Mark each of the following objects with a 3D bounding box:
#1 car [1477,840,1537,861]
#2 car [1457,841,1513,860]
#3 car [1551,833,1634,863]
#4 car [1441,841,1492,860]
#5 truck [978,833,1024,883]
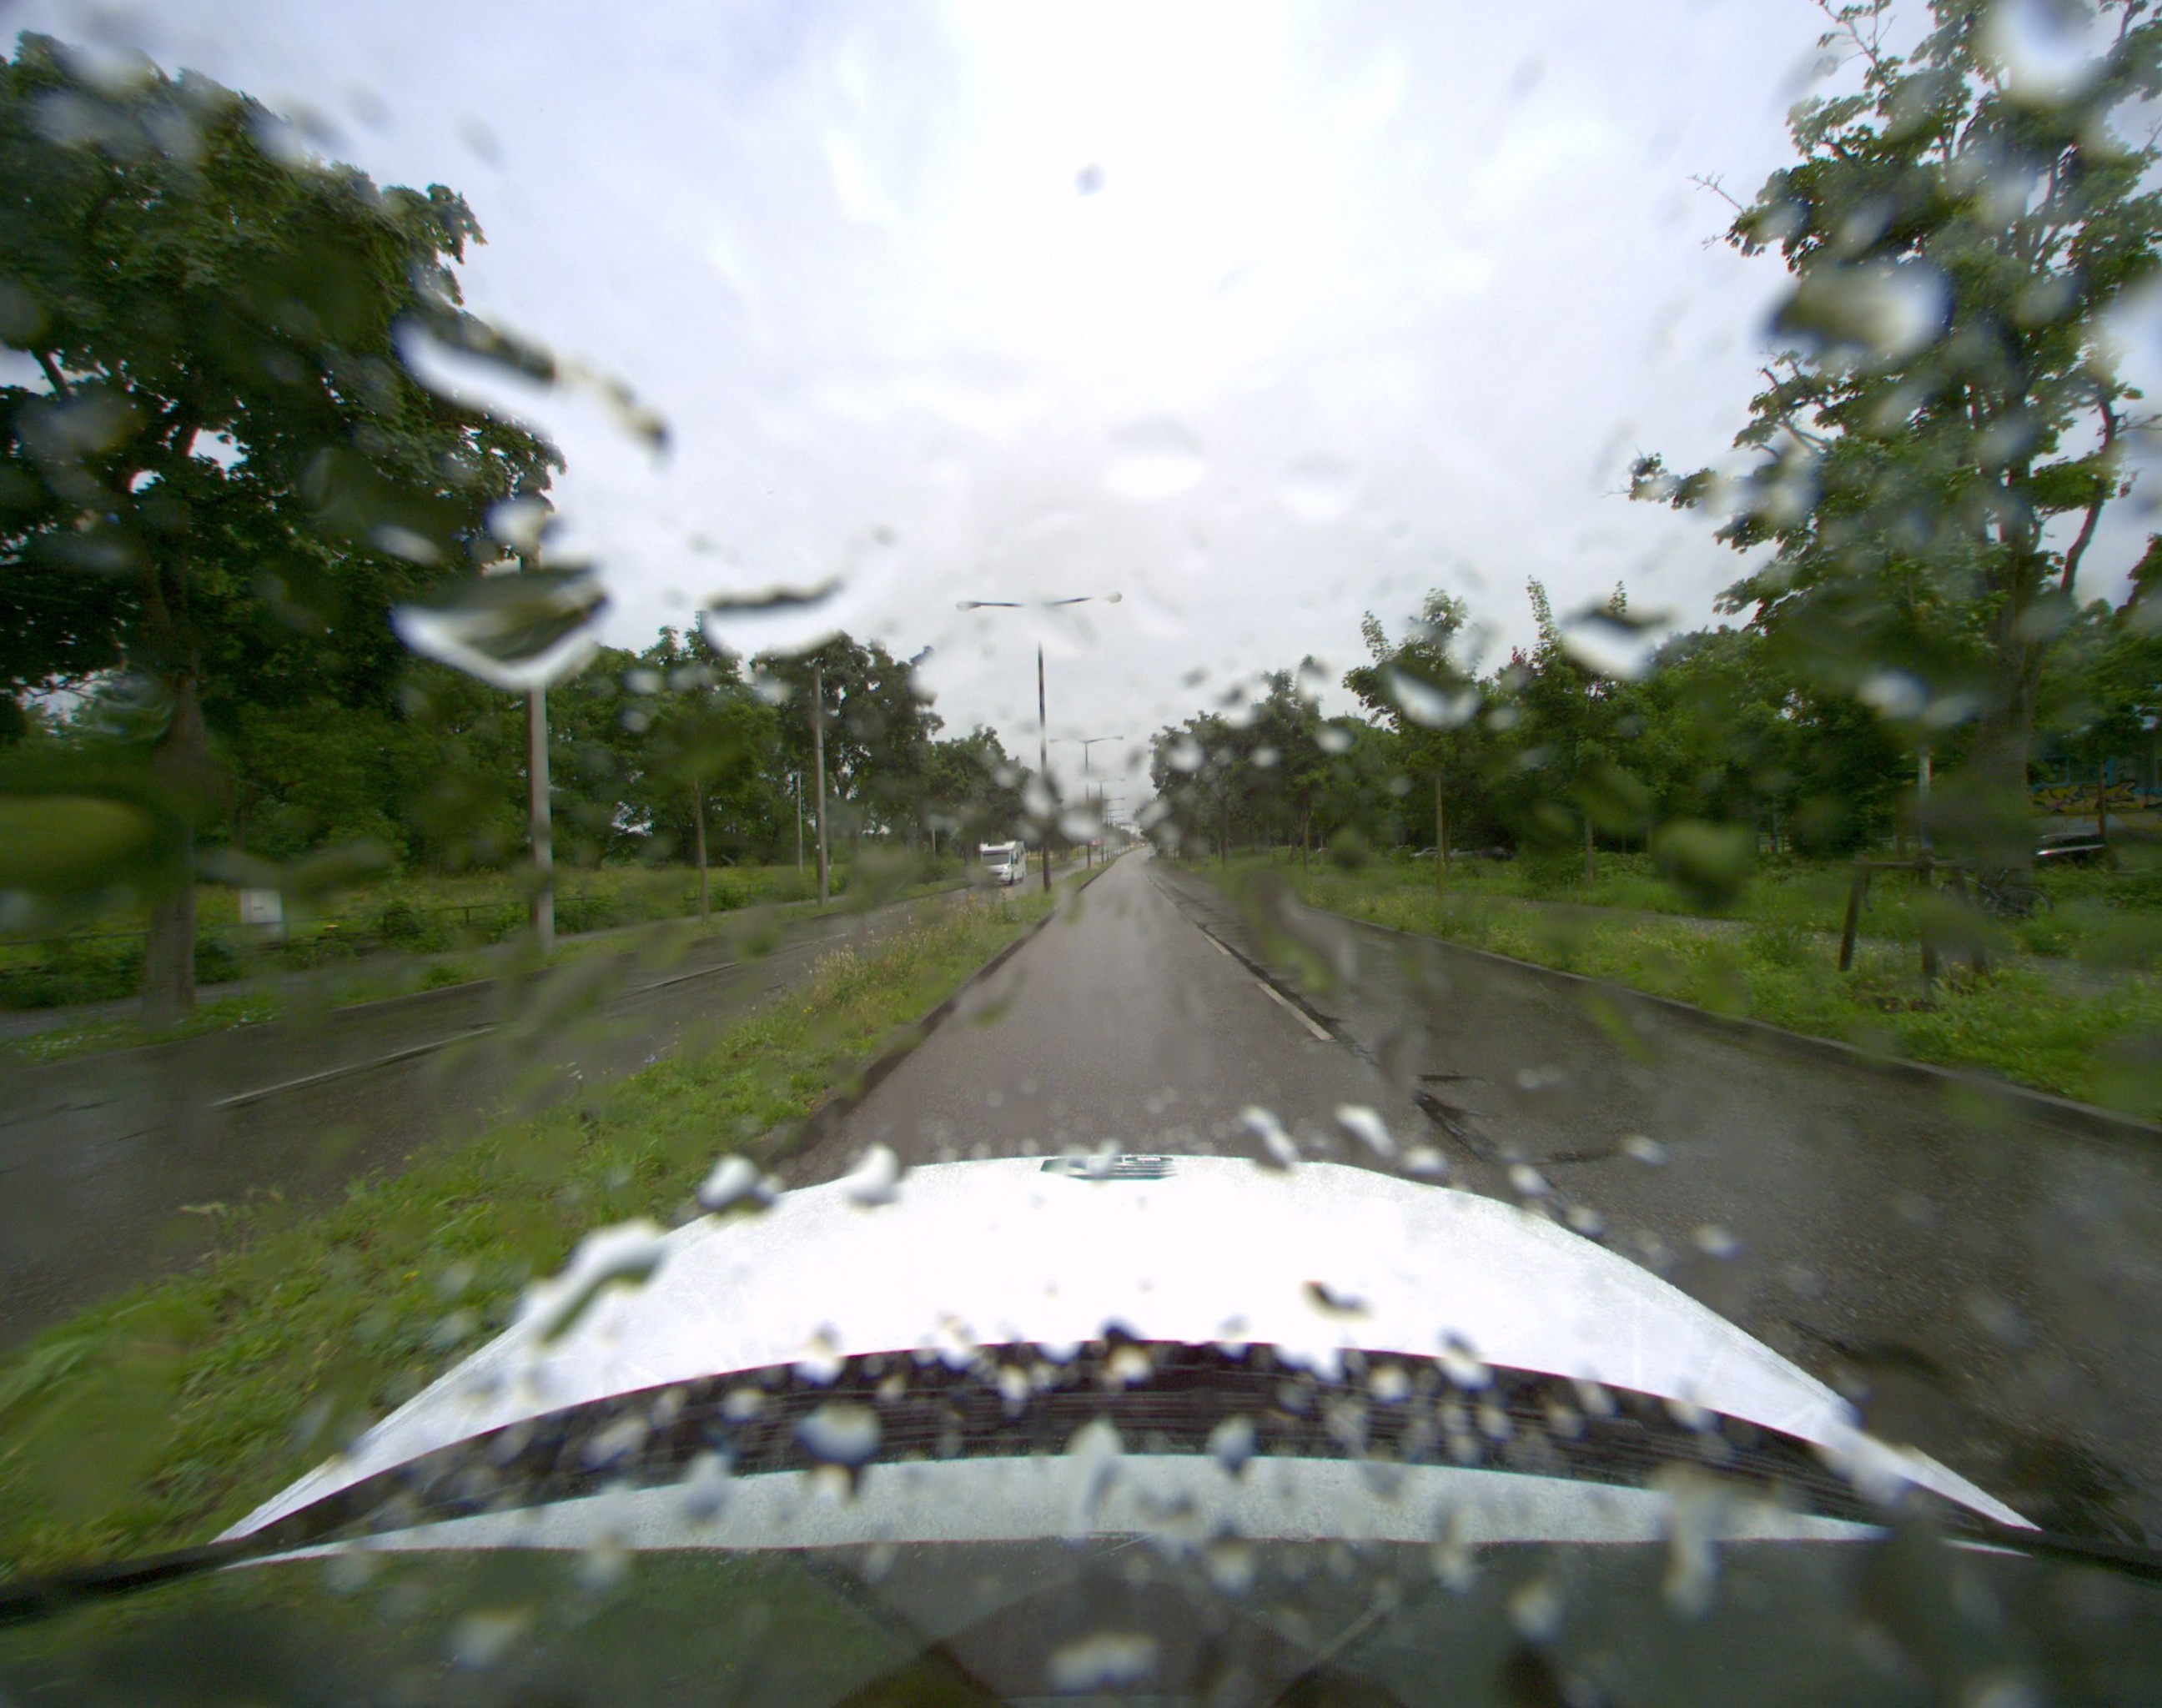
[{"bbox_3d":[34.667,-0.273,66.286,3.965,1.640,1.811,0,-1,8],"label":"car"},{"bbox_3d":[34.720,-0.286,70.075,3.965,1.640,1.811,0,-1,8],"label":"car"},{"bbox_3d":[31.596,-0.377,50.372,3.939,1.820,1.898,0,-1,3],"label":"car"},{"bbox_3d":[35.630,-0.315,75.319,3.965,1.640,1.811,0,-1,8],"label":"car"},{"bbox_3d":[-4.982,0.276,51.561,2.130,2.843,5.074,-3,-1,1],"label":"truck"}]
